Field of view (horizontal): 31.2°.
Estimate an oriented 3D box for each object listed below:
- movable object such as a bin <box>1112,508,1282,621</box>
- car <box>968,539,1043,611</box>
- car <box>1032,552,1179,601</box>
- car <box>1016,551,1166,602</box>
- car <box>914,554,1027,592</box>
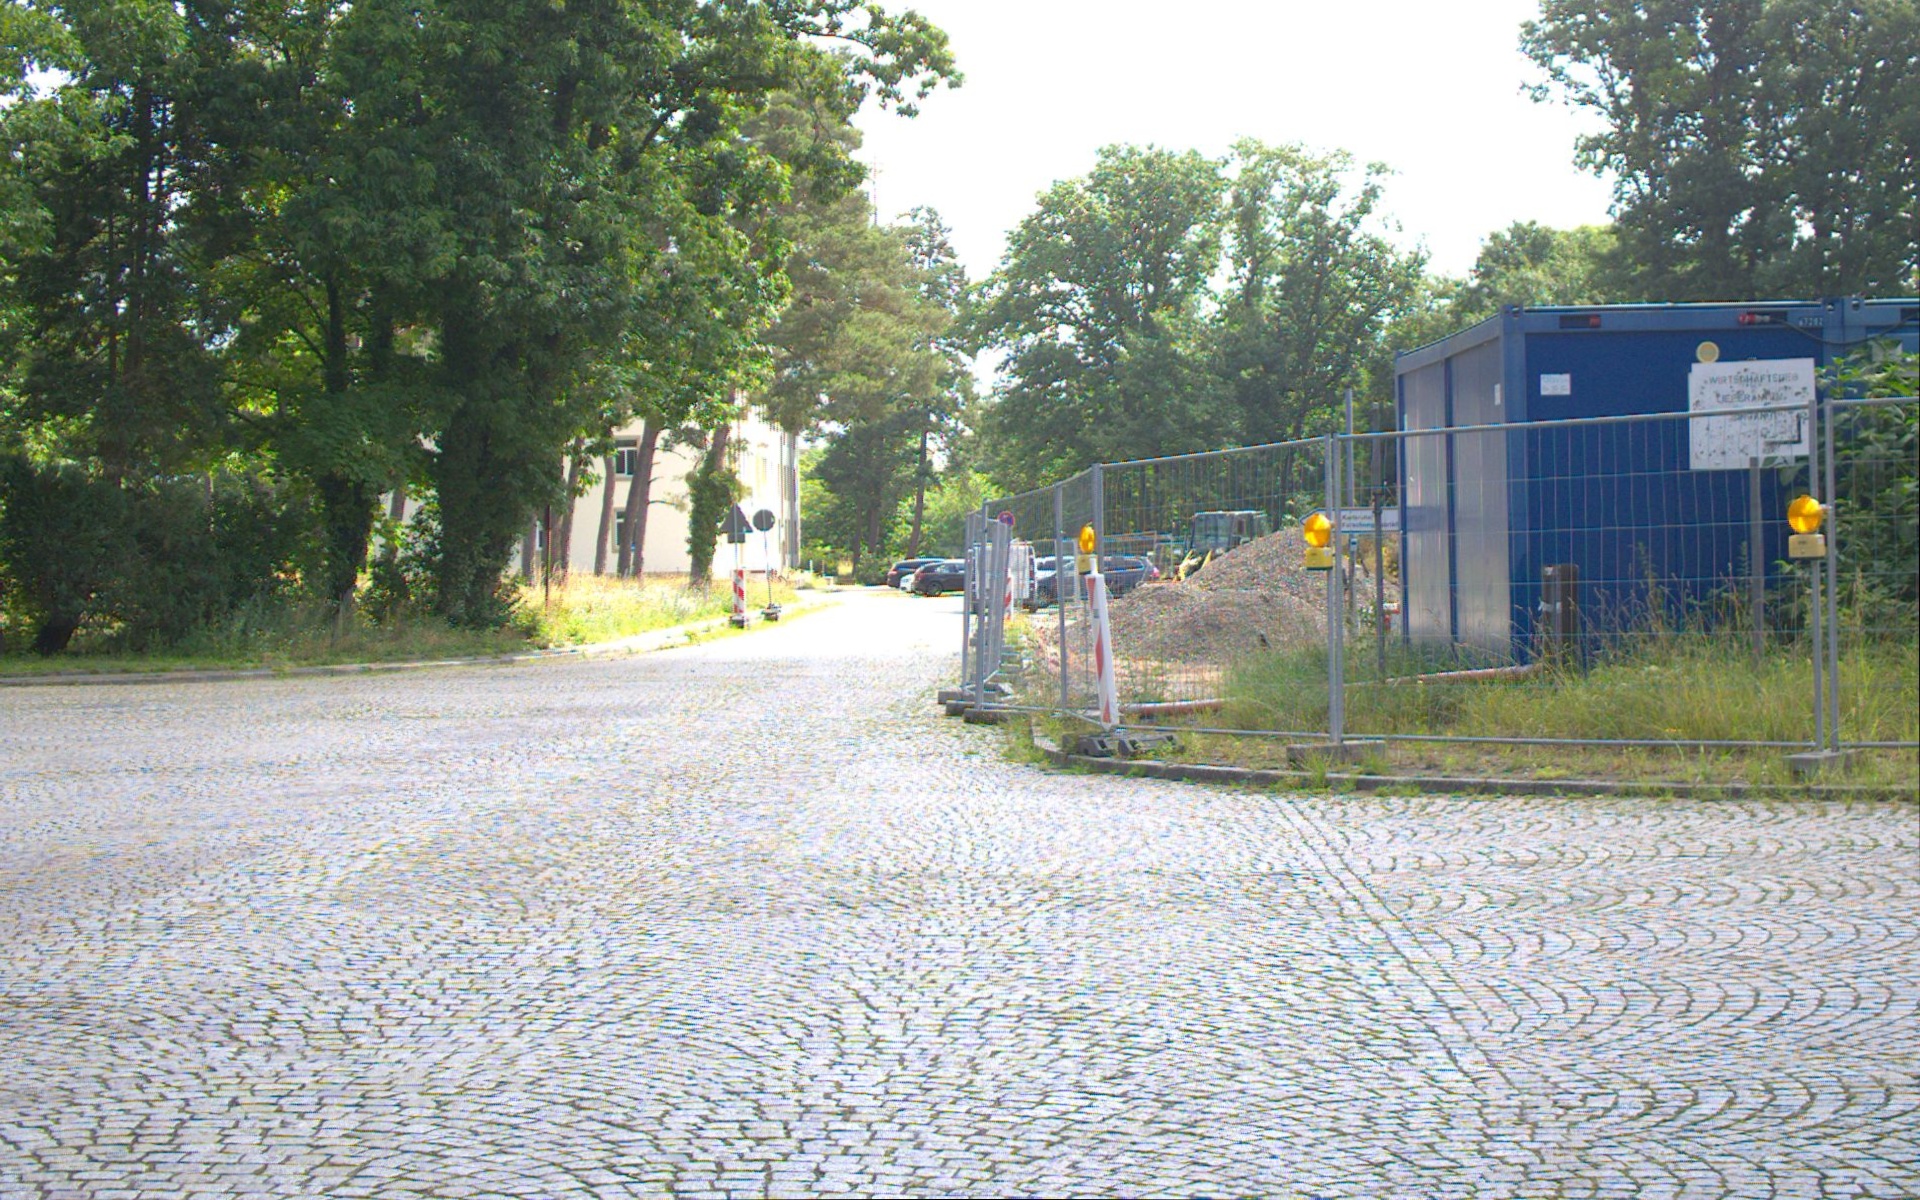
[{"bbox_3d":[5.626,-0.849,81.101,2.132,2.584,4.783,0,1,30],"label":"movable object such as a bin"},{"bbox_3d":[1.277,-0.709,98.061,1.993,2.007,4.091,0,0,-1],"label":"car"},{"bbox_3d":[4.581,-0.743,107.970,4.404,1.505,1.999,1,1,9],"label":"car"},{"bbox_3d":[4.020,-0.718,105.234,4.404,1.505,1.999,1,1,9],"label":"car"},{"bbox_3d":[0.438,-1.180,149.877,4.779,1.635,2.000,0,0,-5],"label":"car"}]
